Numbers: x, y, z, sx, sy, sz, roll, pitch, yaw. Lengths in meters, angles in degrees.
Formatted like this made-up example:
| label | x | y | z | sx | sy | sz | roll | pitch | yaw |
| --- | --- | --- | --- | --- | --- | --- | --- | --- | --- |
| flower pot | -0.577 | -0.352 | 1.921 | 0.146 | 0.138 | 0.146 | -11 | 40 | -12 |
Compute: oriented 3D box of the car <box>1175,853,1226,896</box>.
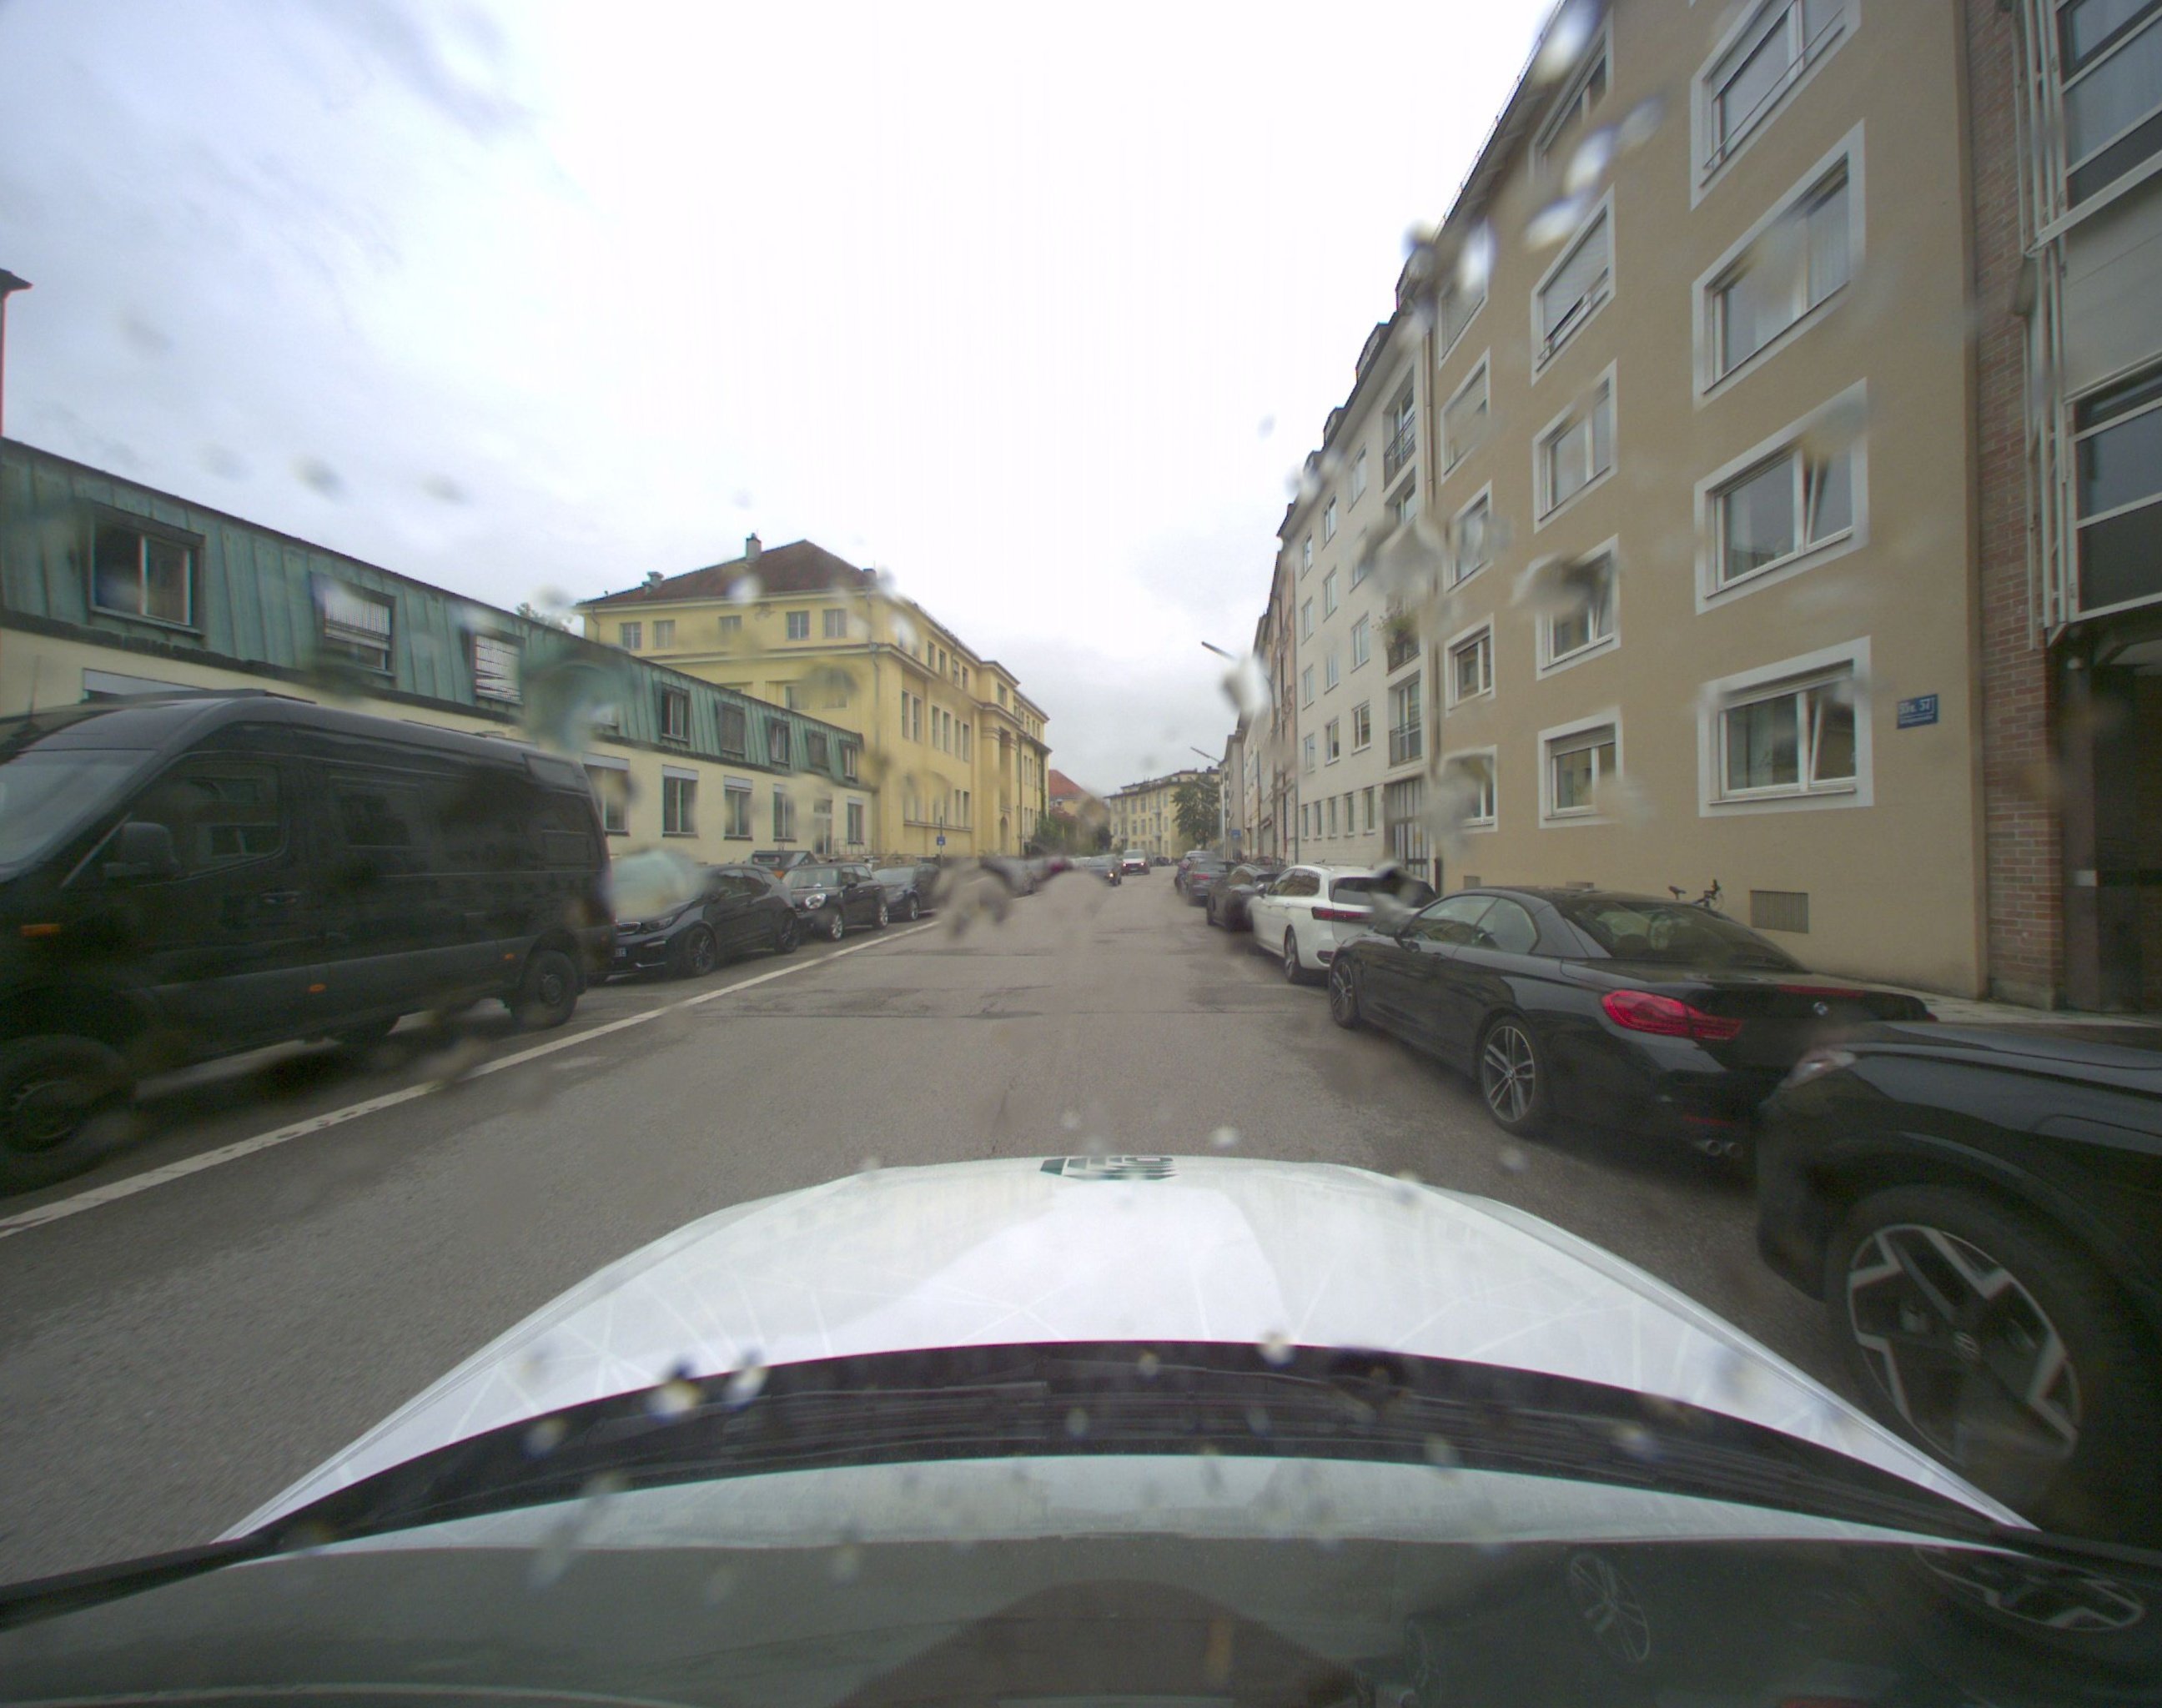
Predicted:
| label | x | y | z | sx | sy | sz | roll | pitch | yaw |
| --- | --- | --- | --- | --- | --- | --- | --- | --- | --- |
| car | 4.489 | 0.714 | 30.552 | 1.732 | 1.494 | 4.559 | 0 | 0 | 9 |

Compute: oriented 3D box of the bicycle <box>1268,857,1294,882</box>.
| label | x | y | z | sx | sy | sz | roll | pitch | yaw |
| --- | --- | --- | --- | --- | --- | --- | --- | --- | --- |
| bicycle | 8.990 | 0.677 | 36.669 | 0.720 | 1.112 | 1.995 | -1 | 0 | 1 |

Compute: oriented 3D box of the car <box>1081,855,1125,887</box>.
| label | x | y | z | sx | sy | sz | roll | pitch | yaw |
| --- | --- | --- | --- | --- | --- | --- | --- | --- | --- |
| car | 1.145 | 0.802 | 40.903 | 1.651 | 1.474 | 3.717 | -3 | -1 | 9 |

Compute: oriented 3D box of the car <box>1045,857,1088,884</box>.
| label | x | y | z | sx | sy | sz | roll | pitch | yaw |
| --- | --- | --- | --- | --- | --- | --- | --- | --- | --- |
| car | -0.814 | 0.946 | 47.879 | 1.784 | 1.429 | 4.674 | -4 | -1 | 7 |

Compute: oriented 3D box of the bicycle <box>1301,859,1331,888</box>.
| label | x | y | z | sx | sy | sz | roll | pitch | yaw |
| --- | --- | --- | --- | --- | --- | --- | --- | --- | --- |
| bicycle | 8.981 | 0.719 | 31.197 | 0.527 | 1.072 | 1.999 | -1 | 0 | -1 |

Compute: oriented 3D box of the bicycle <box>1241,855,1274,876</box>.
| label | x | y | z | sx | sy | sz | roll | pitch | yaw |
| --- | --- | --- | --- | --- | --- | --- | --- | --- | --- |
| bicycle | 10.282 | 0.650 | 47.480 | 2.101 | 1.139 | 0.578 | -2 | 0 | -36 |

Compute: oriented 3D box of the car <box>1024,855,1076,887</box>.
| label | x | y | z | sx | sy | sz | roll | pitch | yaw |
| --- | --- | --- | --- | --- | --- | --- | --- | --- | --- |
| car | -1.537 | 0.856 | 42.222 | 1.948 | 1.482 | 4.537 | -3 | -1 | 6 |

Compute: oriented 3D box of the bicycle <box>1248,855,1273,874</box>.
| label | x | y | z | sx | sy | sz | roll | pitch | yaw |
| --- | --- | --- | --- | --- | --- | --- | --- | --- | --- |
| bicycle | 10.935 | 0.631 | 49.691 | 0.614 | 1.089 | 1.825 | -2 | 0 | 43 |

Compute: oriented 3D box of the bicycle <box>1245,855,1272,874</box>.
| label | x | y | z | sx | sy | sz | roll | pitch | yaw |
| --- | --- | --- | --- | --- | --- | --- | --- | --- | --- |
| bicycle | 10.963 | 0.650 | 50.291 | 1.855 | 1.067 | 0.510 | -1 | 0 | -34 |

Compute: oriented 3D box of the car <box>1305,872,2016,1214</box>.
| label | x | y | z | sx | sy | sz | roll | pitch | yaw |
| --- | --- | --- | --- | --- | --- | --- | --- | --- | --- |
| car | 3.253 | 0.896 | 6.014 | 1.752 | 1.365 | 4.778 | 3 | -1 | -1 |

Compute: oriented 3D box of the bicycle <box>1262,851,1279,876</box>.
| label | x | y | z | sx | sy | sz | roll | pitch | yaw |
| --- | --- | --- | --- | --- | --- | --- | --- | --- | --- |
| bicycle | 10.597 | 0.510 | 45.549 | 0.593 | 1.385 | 2.095 | -2 | 0 | 5 |

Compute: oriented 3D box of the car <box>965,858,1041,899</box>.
| label | x | y | z | sx | sy | sz | roll | pitch | yaw |
| --- | --- | --- | --- | --- | --- | --- | --- | --- | --- |
| car | -3.022 | 0.953 | 32.613 | 2.004 | 1.418 | 4.624 | -3 | -1 | 7 |

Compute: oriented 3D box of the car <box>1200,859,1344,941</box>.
| label | x | y | z | sx | sy | sz | roll | pitch | yaw |
| --- | --- | --- | --- | --- | --- | --- | --- | --- | --- |
| car | 3.724 | 0.831 | 16.838 | 1.947 | 1.414 | 5.115 | 0 | 0 | 2 |

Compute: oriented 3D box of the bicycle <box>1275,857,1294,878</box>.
| label | x | y | z | sx | sy | sz | roll | pitch | yaw |
| --- | --- | --- | --- | --- | --- | --- | --- | --- | --- |
| bicycle | 9.948 | 0.648 | 39.883 | 0.593 | 1.024 | 1.820 | -2 | 0 | 5 |

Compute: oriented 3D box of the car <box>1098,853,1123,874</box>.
| label | x | y | z | sx | sy | sz | roll | pitch | yaw |
| --- | --- | --- | --- | --- | --- | --- | --- | --- | --- |
| car | 2.602 | 0.820 | 70.569 | 1.737 | 1.634 | 4.864 | -2 | -1 | 6 |

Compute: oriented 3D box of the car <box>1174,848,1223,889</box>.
| label | x | y | z | sx | sy | sz | roll | pitch | yaw |
| --- | --- | --- | --- | --- | --- | --- | --- | --- | --- |
| car | 5.095 | 0.623 | 35.822 | 1.675 | 1.673 | 3.805 | 1 | 0 | 1 |

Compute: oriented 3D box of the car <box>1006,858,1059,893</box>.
| label | x | y | z | sx | sy | sz | roll | pitch | yaw |
| --- | --- | --- | --- | --- | --- | --- | --- | --- | --- |
| car | -2.167 | 0.937 | 37.594 | 1.741 | 1.405 | 4.361 | -4 | -1 | 5 |

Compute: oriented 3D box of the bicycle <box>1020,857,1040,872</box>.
| label | x | y | z | sx | sy | sz | roll | pitch | yaw |
| --- | --- | --- | --- | --- | --- | --- | --- | --- | --- |
| bicycle | -4.345 | 0.911 | 69.862 | 1.616 | 1.268 | 0.528 | -2 | -1 | 9 |

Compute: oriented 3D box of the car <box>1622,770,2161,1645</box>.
| label | x | y | z | sx | sy | sz | roll | pitch | yaw |
| --- | --- | --- | --- | --- | --- | --- | --- | --- | --- |
| car | 3.005 | 0.661 | 0.706 | 1.873 | 1.646 | 4.640 | 0 | 0 | -2 |

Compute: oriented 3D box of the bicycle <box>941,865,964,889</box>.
| label | x | y | z | sx | sy | sz | roll | pitch | yaw |
| --- | --- | --- | --- | --- | --- | --- | --- | --- | --- |
| bicycle | -6.501 | 1.147 | 41.263 | 0.532 | 1.185 | 2.111 | -1 | 0 | 9 |

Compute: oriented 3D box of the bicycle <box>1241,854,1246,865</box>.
| label | x | y | z | sx | sy | sz | roll | pitch | yaw |
| --- | --- | --- | --- | --- | --- | --- | --- | --- | --- |
| bicycle | 17.944 | 0.606 | 89.819 | 0.526 | 1.218 | 2.108 | -1 | -1 | 10 |

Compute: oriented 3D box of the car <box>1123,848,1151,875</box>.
| label | x | y | z | sx | sy | sz | roll | pitch | yaw |
| --- | --- | --- | --- | --- | --- | --- | --- | --- | --- |
| car | 4.191 | 0.556 | 60.207 | 1.906 | 1.848 | 5.329 | 0 | -1 | 5 |

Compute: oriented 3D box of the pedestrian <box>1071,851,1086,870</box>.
| label | x | y | z | sx | sy | sz | roll | pitch | yaw |
| --- | --- | --- | --- | --- | --- | --- | --- | --- | --- |
| pedestrian | -0.204 | 0.569 | 73.662 | 0.893 | 1.719 | 1.065 | -2 | 0 | 26 |

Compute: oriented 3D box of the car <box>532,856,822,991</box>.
| label | x | y | z | sx | sy | sz | roll | pitch | yaw |
| --- | --- | --- | --- | --- | --- | --- | --- | --- | --- |
| car | -5.946 | 0.908 | 12.716 | 1.870 | 1.636 | 4.357 | -4 | 0 | 7 |

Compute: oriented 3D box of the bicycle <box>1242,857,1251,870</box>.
| label | x | y | z | sx | sy | sz | roll | pitch | yaw |
| --- | --- | --- | --- | --- | --- | --- | --- | --- | --- |
| bicycle | 16.464 | 0.941 | 80.932 | 0.510 | 1.222 | 1.990 | -1 | 0 | 2 |

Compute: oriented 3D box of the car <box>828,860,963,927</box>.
| label | x | y | z | sx | sy | sz | roll | pitch | yaw |
| --- | --- | --- | --- | --- | --- | --- | --- | --- | --- |
| car | -4.822 | 0.977 | 21.937 | 1.902 | 1.482 | 4.543 | -4 | 0 | 9 |

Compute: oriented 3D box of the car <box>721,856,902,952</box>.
| label | x | y | z | sx | sy | sz | roll | pitch | yaw |
| --- | --- | --- | --- | --- | --- | --- | --- | --- | --- |
| car | -5.466 | 0.930 | 17.207 | 1.904 | 1.587 | 4.359 | -4 | 0 | 6 |

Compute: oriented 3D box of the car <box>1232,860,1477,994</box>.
| label | x | y | z | sx | sy | sz | roll | pitch | yaw |
| --- | --- | --- | --- | --- | --- | --- | --- | --- | --- |
| car | 3.468 | 0.820 | 11.439 | 1.847 | 1.414 | 5.016 | 0 | 0 | 1 |

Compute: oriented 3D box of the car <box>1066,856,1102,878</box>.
| label | x | y | z | sx | sy | sz | roll | pitch | yaw |
| --- | --- | --- | --- | --- | --- | --- | --- | --- | --- |
| car | 0.235 | 0.871 | 55.406 | 1.774 | 1.431 | 4.663 | -1 | -1 | 9 |

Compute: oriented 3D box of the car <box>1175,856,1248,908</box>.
| label | x | y | z | sx | sy | sz | roll | pitch | yaw |
| --- | --- | --- | --- | --- | --- | --- | --- | --- | --- |
| car | 4.039 | 0.809 | 25.769 | 1.699 | 1.454 | 4.404 | 2 | 0 | 2 |

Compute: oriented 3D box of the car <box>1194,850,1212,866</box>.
| label | x | y | z | sx | sy | sz | roll | pitch | yaw |
| --- | --- | --- | --- | --- | --- | --- | --- | --- | --- |
| car | 19.333 | 0.617 | 129.174 | 2.071 | 2.234 | 5.247 | 3 | -2 | 3 |

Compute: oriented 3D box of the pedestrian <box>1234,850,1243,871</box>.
| label | x | y | z | sx | sy | sz | roll | pitch | yaw |
| --- | --- | --- | --- | --- | --- | --- | --- | --- | --- |
| pedestrian | 13.569 | 0.583 | 70.315 | 0.718 | 1.764 | 0.907 | -1 | -4 | 9 |

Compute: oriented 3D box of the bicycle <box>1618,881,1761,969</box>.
| label | x | y | z | sx | sy | sz | roll | pitch | yaw |
| --- | --- | --- | --- | --- | --- | --- | --- | --- | --- |
| bicycle | 8.171 | 0.918 | 11.039 | 0.673 | 1.033 | 1.754 | -1 | 0 | 3 |

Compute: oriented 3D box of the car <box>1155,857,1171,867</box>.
| label | x | y | z | sx | sy | sz | roll | pitch | yaw |
| --- | --- | --- | --- | --- | --- | --- | --- | --- | --- |
| car | 16.780 | 1.691 | 166.532 | 1.764 | 1.874 | 4.359 | 3 | -1 | -13 |

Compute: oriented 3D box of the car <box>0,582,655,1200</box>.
| label | x | y | z | sx | sy | sz | roll | pitch | yaw |
| --- | --- | --- | --- | --- | --- | --- | --- | --- | --- |
| car | -6.057 | 0.232 | 6.132 | 2.205 | 2.854 | 6.197 | -3 | -1 | 1 |
